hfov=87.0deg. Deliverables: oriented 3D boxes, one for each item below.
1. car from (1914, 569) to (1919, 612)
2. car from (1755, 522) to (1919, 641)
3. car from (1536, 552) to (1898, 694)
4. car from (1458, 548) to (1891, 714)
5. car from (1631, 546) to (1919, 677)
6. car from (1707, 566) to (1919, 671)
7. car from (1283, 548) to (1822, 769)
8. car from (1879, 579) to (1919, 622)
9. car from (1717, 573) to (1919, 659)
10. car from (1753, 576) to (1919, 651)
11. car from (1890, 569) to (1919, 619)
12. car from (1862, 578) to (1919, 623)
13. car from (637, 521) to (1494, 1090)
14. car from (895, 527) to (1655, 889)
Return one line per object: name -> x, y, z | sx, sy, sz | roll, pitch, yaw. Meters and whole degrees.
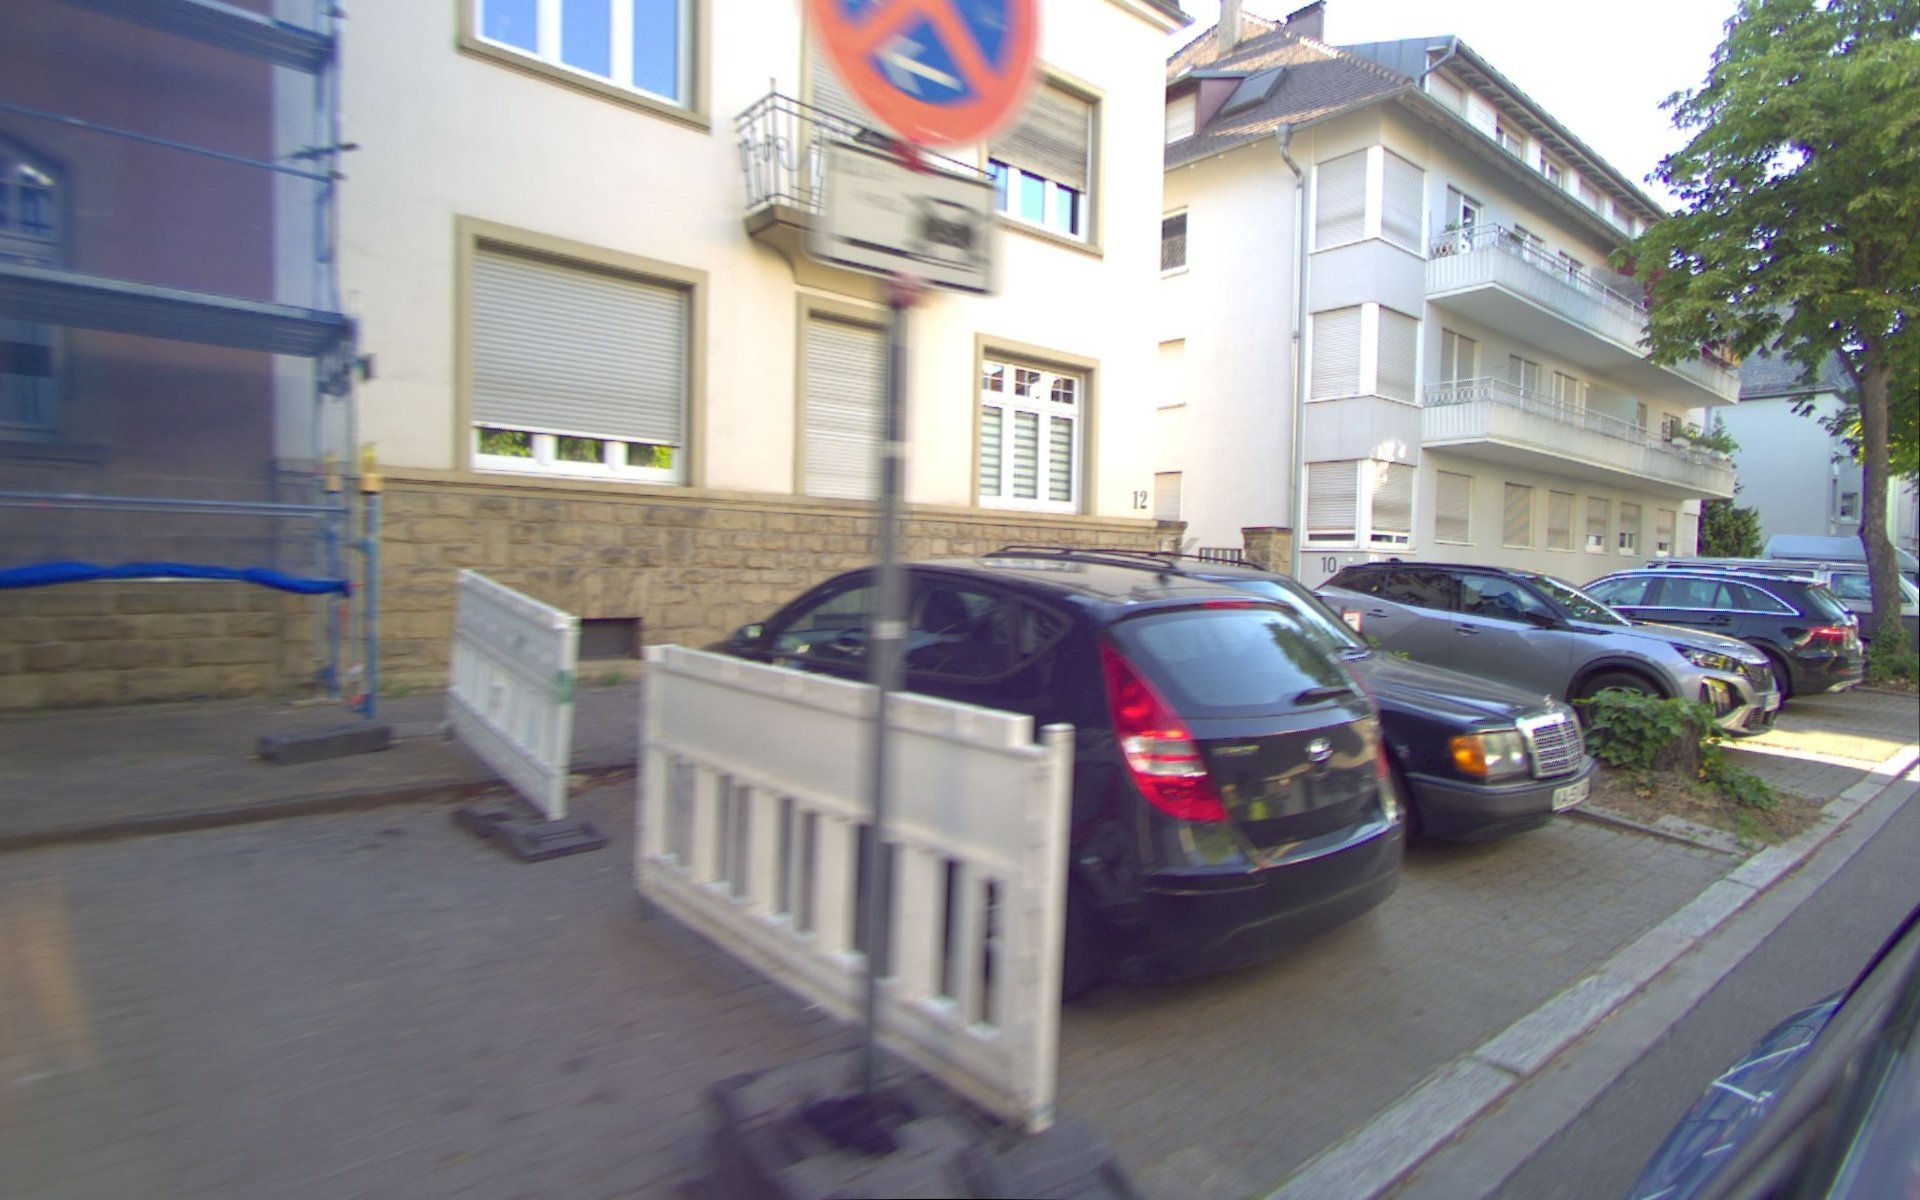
car -> 46.116, -0.297, 45.232 | 1.915, 1.960, 4.820 | 0, 3, -39
car -> 24.154, -0.495, 26.313 | 2.041, 2.937, 5.104 | 0, 3, -42
car -> 11.122, 0.227, 15.131 | 1.674, 1.703, 3.963 | 1, 4, -37
car -> 9.196, 0.258, 13.346 | 1.676, 1.703, 4.339 | 0, 4, -42
car -> 14.643, 0.106, 17.720 | 1.864, 2.038, 4.477 | -1, 3, -42
car -> 16.657, 0.293, 18.887 | 4.175, 1.744, 1.739 | 4, 4, 43
car -> 5.571, 0.365, 9.978 | 1.818, 1.557, 4.166 | -1, 5, -40
car -> 34.266, 0.083, 34.996 | 1.727, 1.444, 3.411 | 0, 4, -40
car -> 18.310, 0.271, 21.095 | 1.610, 1.573, 3.731 | -1, 3, -39
car -> 20.350, 0.271, 22.736 | 1.729, 1.447, 3.728 | -2, 4, -41
car -> 38.485, -0.167, 38.548 | 1.729, 1.907, 4.308 | -1, 4, -43
car -> 36.170, 0.069, 37.194 | 1.729, 1.559, 4.308 | 0, 3, -43
car -> 0.073, 0.442, 4.898 | 1.817, 1.510, 3.999 | 0, 4, -38
car -> 1.691, 0.353, 6.970 | 1.818, 1.553, 4.731 | 0, 5, -40
